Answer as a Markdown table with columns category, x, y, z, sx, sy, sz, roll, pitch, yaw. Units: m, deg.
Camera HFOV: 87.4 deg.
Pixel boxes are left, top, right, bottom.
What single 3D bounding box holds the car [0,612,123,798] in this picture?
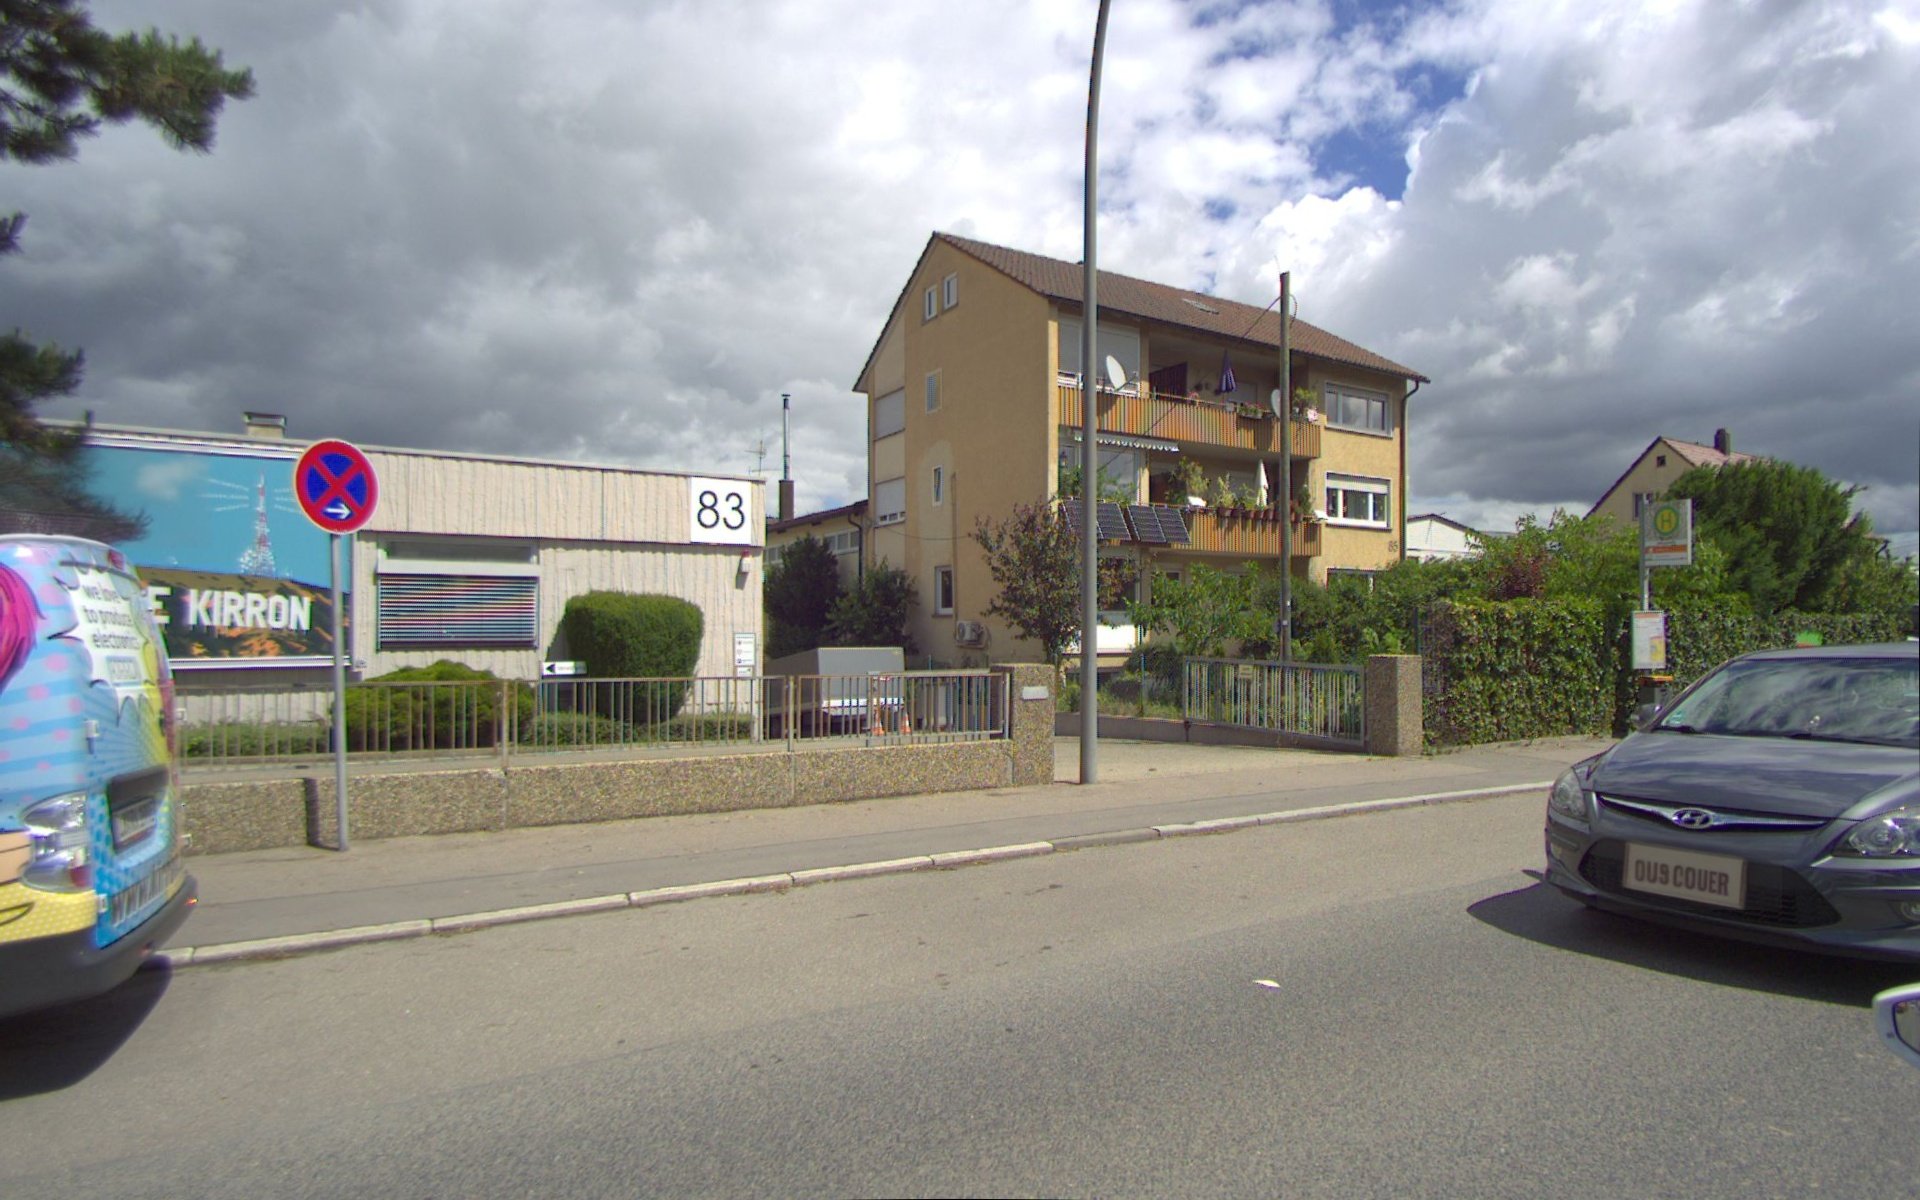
| category | x | y | z | sx | sy | sz | roll | pitch | yaw |
| --- | --- | --- | --- | --- | --- | --- | --- | --- | --- |
| car | -11.935 | 1.037 | 9.835 | 5.416 | 1.854 | 2.070 | 2 | -3 | -31 |

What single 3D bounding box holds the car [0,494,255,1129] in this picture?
| category | x | y | z | sx | sy | sz | roll | pitch | yaw |
| --- | --- | --- | --- | --- | --- | --- | --- | --- | --- |
| car | -5.021 | 0.678 | 2.781 | 4.838 | 1.877 | 1.825 | 0 | -5 | -30 |

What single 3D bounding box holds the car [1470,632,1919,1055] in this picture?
| category | x | y | z | sx | sy | sz | roll | pitch | yaw |
| --- | --- | --- | --- | --- | --- | --- | --- | --- | --- |
| car | 4.926 | 0.962 | 5.451 | 4.269 | 1.537 | 1.891 | 1 | -3 | -31 |

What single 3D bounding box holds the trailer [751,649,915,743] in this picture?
| category | x | y | z | sx | sy | sz | roll | pitch | yaw |
| --- | --- | --- | --- | --- | --- | --- | --- | --- | --- |
| trailer | -3.114 | 2.331 | 23.909 | 2.432 | 1.908 | 3.971 | 1 | -8 | -32 |

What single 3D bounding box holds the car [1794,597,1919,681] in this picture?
| category | x | y | z | sx | sy | sz | roll | pitch | yaw |
| --- | --- | --- | --- | --- | --- | --- | --- | --- | --- |
| car | 30.040 | 1.214 | 31.097 | 2.448 | 2.529 | 6.011 | 1 | -2 | -29 |

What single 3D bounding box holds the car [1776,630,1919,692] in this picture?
| category | x | y | z | sx | sy | sz | roll | pitch | yaw |
| --- | --- | --- | --- | --- | --- | --- | --- | --- | --- |
| car | 24.270 | 1.565 | 26.348 | 5.258 | 1.505 | 1.992 | 1 | -2 | -19 |
